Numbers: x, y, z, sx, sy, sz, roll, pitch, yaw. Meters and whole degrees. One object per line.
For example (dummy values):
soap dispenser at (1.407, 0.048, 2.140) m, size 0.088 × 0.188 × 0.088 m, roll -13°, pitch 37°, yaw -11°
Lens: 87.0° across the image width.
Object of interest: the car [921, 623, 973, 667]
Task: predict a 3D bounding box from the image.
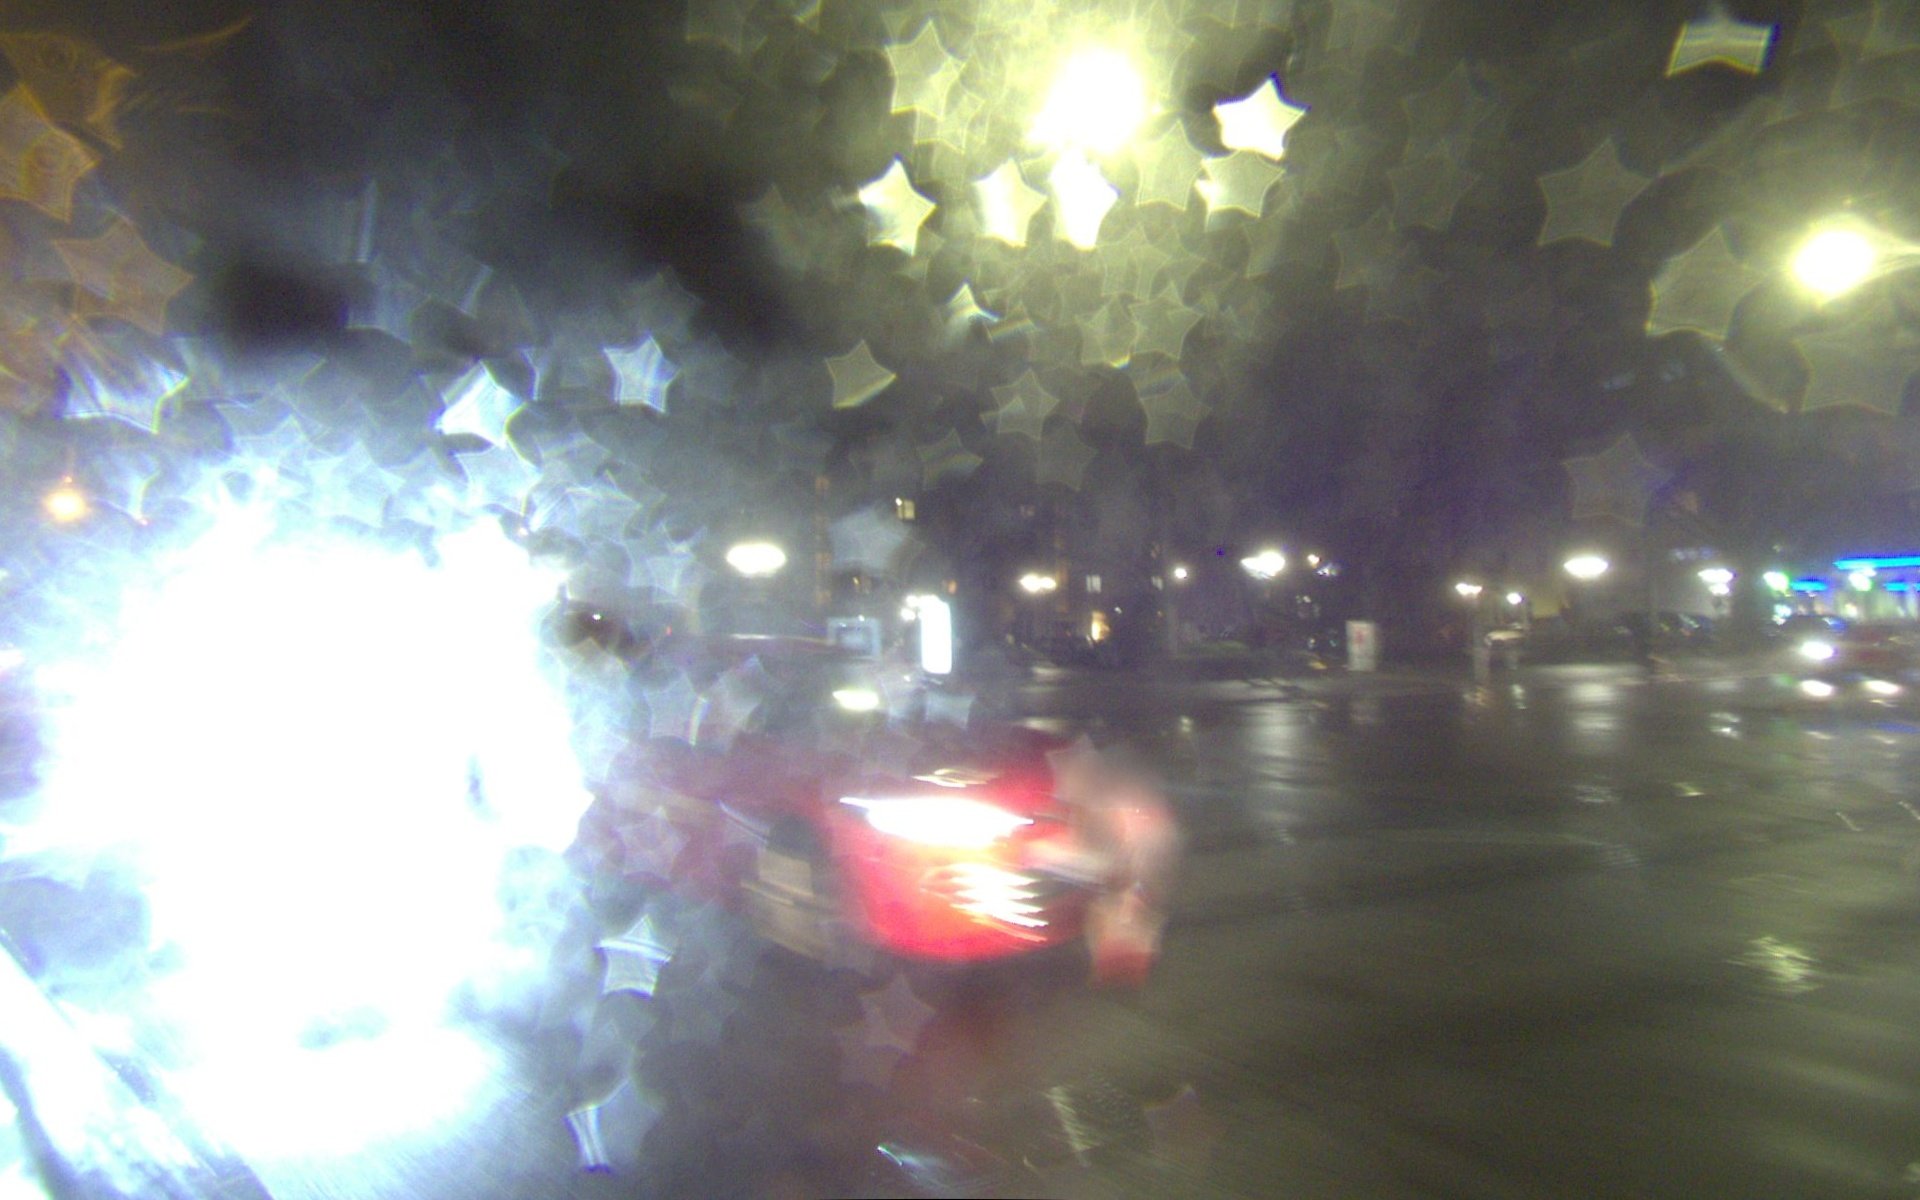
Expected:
car at (-0.884, 2.984, 66.658) m, size 1.689 × 2.752 × 4.369 m, roll -1°, pitch -3°, yaw -25°

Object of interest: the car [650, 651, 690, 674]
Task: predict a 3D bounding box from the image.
car at (-20.224, 4.321, 70.457) m, size 1.838 × 1.454 × 4.508 m, roll -1°, pitch -3°, yaw -26°

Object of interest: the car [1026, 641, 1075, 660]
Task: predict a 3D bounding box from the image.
car at (7.209, 4.076, 81.021) m, size 1.838 × 1.454 × 4.508 m, roll -1°, pitch -3°, yaw -26°

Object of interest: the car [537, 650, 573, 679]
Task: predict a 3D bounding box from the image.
car at (-26.739, 4.251, 66.732) m, size 1.838 × 1.774 × 4.508 m, roll -1°, pitch -3°, yaw -26°

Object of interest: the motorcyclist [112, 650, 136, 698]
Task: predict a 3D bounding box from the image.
motorcyclist at (-36.160, 3.178, 43.759) m, size 0.983 × 2.029 × 0.685 m, roll -5°, pitch -5°, yaw 44°

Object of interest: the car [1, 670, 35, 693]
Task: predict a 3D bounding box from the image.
car at (-67.178, 5.793, 72.145) m, size 1.579 × 1.576 × 4.382 m, roll 5°, pitch -6°, yaw -44°

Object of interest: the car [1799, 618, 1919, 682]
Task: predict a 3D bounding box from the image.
car at (24.683, 1.296, 26.992) m, size 4.258 × 1.581 × 1.904 m, roll 0°, pitch -3°, yaw -26°

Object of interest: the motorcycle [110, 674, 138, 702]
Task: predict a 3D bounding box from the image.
motorcycle at (-36.063, 3.795, 43.645) m, size 2.176 × 1.147 × 0.693 m, roll -5°, pitch -5°, yaw 45°

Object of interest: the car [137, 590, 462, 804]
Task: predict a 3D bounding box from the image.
car at (-7.896, 1.082, 11.855) m, size 5.199 × 1.969 × 2.012 m, roll -5°, pitch -5°, yaw 43°

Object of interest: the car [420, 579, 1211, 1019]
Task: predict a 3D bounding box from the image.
car at (-1.160, 0.824, 5.815) m, size 4.721 × 1.554 × 1.799 m, roll -3°, pitch -3°, yaw 40°

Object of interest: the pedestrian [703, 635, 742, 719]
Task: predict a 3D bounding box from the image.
pedestrian at (-5.119, 1.646, 21.834) m, size 0.758 × 1.749 × 0.972 m, roll -1°, pitch -3°, yaw -11°
